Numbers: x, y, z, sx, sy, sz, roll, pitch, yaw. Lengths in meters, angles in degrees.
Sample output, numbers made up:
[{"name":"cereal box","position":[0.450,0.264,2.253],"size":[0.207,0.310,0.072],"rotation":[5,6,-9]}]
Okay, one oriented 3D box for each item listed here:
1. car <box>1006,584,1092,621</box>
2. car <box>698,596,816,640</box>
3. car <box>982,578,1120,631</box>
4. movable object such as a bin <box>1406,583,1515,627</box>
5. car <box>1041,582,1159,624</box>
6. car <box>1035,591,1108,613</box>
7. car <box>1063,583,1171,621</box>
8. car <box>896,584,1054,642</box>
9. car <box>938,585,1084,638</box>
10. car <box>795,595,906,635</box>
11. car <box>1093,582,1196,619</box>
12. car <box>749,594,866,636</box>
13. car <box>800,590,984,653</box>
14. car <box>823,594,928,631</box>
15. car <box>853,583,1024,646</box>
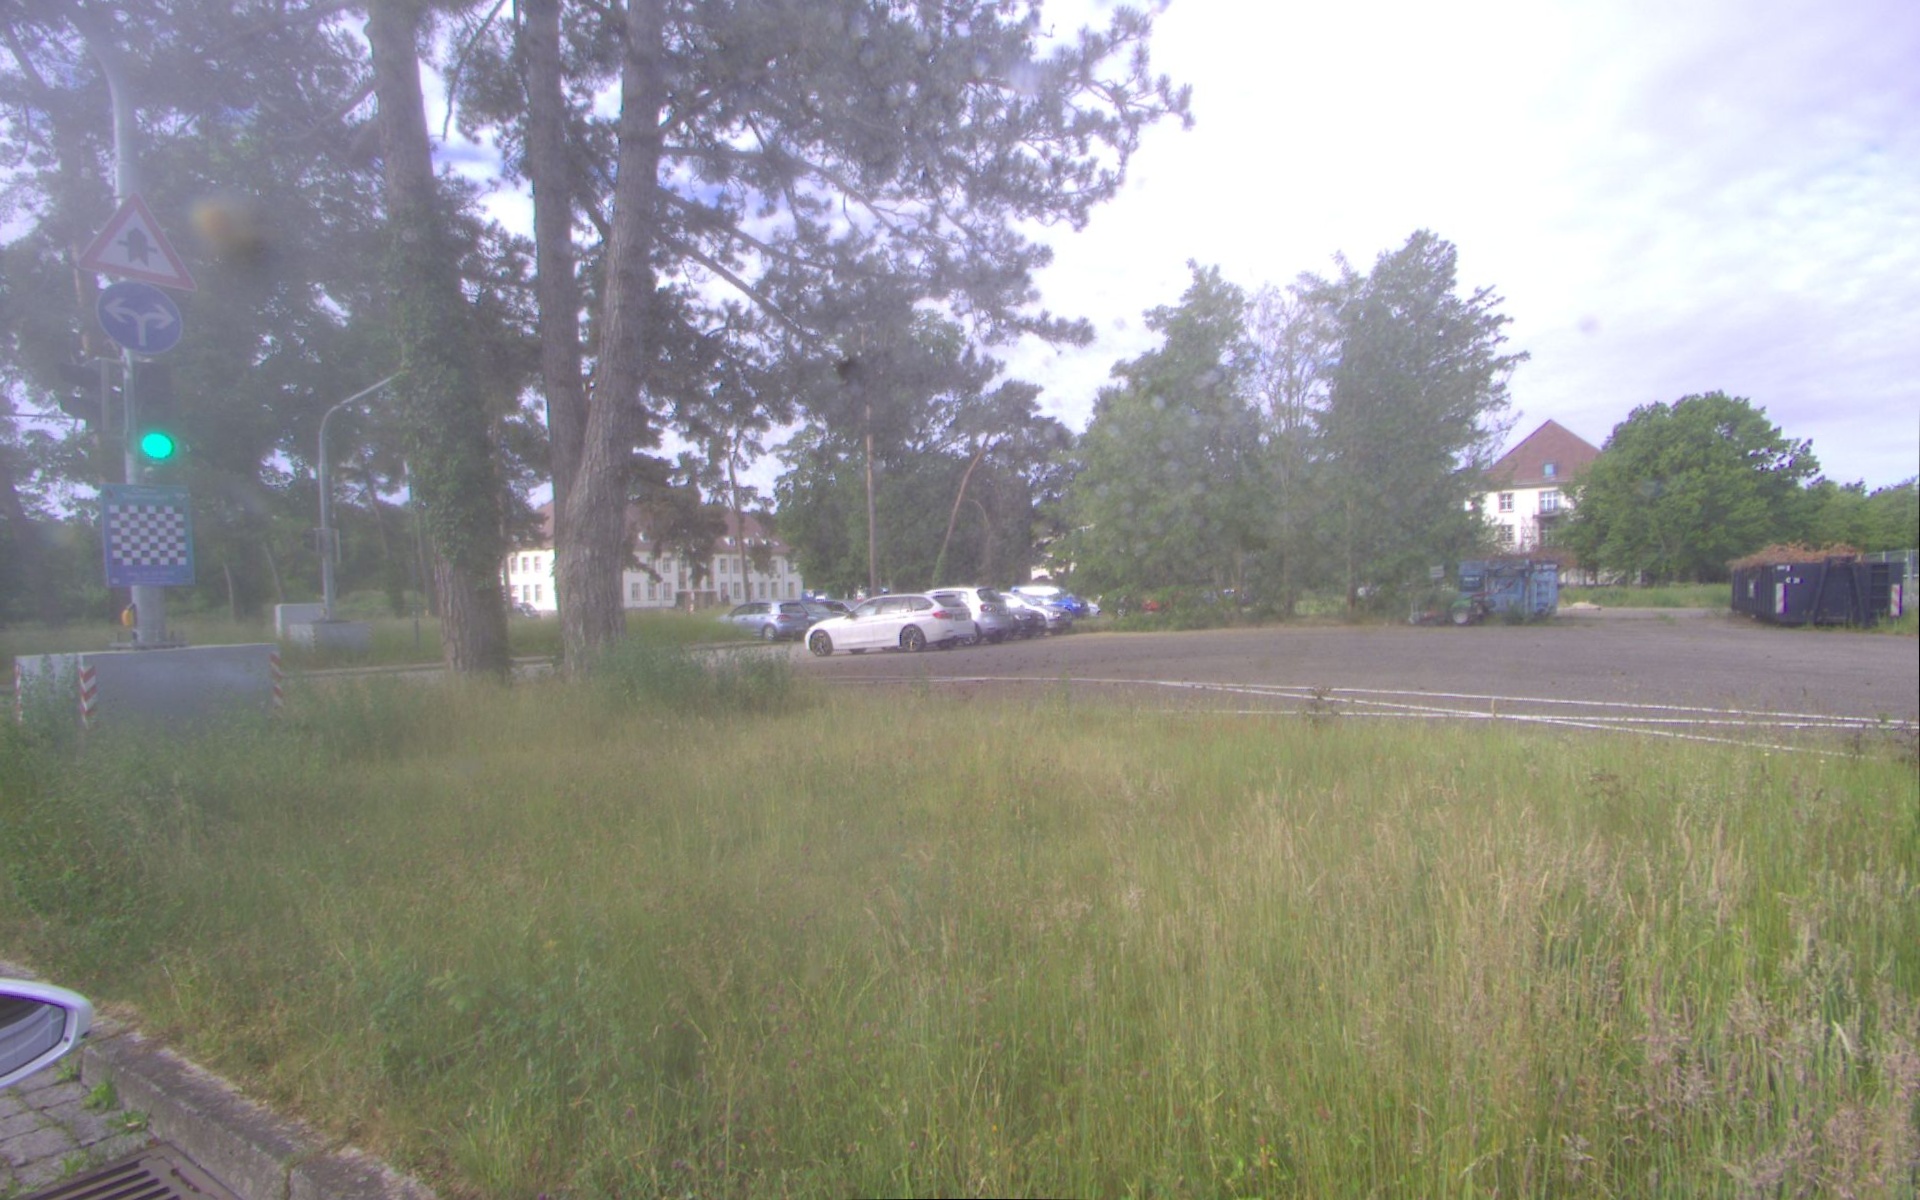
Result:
[{"name":"car","position":[5.059,0.144,57.160],"size":[4.586,1.994,1.750],"rotation":[-1,1,29]},{"name":"car","position":[-7.650,0.680,37.580],"size":[4.386,1.544,1.747],"rotation":[-1,1,34]},{"name":"car","position":[3.150,0.166,34.723],"size":[4.380,1.709,1.864],"rotation":[-1,1,29]},{"name":"movable object such as a bin","position":[13.188,0.103,26.390],"size":[2.505,1.098,1.060],"rotation":[1,2,31]},{"name":"car","position":[5.649,0.142,40.528],"size":[4.380,1.598,1.864],"rotation":[-1,1,29]},{"name":"car","position":[6.594,0.116,59.370],"size":[3.941,1.226,1.654],"rotation":[-1,1,31]},{"name":"car","position":[6.967,0.096,44.524],"size":[4.380,1.598,1.864],"rotation":[-1,1,29]},{"name":"car","position":[0.437,0.387,30.015],"size":[4.380,1.598,1.864],"rotation":[-1,1,29]},{"name":"car","position":[1.645,0.374,32.665],"size":[4.380,1.598,1.864],"rotation":[-1,1,29]},{"name":"car","position":[-4.582,0.620,41.667],"size":[4.380,1.544,1.750],"rotation":[-1,1,29]},{"name":"car","position":[8.643,0.022,46.917],"size":[4.380,1.598,1.864],"rotation":[-1,1,29]},{"name":"car","position":[-6.009,0.600,39.424],"size":[4.379,1.544,1.750],"rotation":[-1,1,28]},{"name":"car","position":[-1.741,0.552,25.286],"size":[4.380,1.434,1.750],"rotation":[-2,0,29]},{"name":"car","position":[-3.736,0.554,44.150],"size":[4.380,1.544,1.750],"rotation":[-1,1,29]},{"name":"car","position":[-0.619,0.391,27.624],"size":[4.380,1.598,1.864],"rotation":[-1,1,29]}]
